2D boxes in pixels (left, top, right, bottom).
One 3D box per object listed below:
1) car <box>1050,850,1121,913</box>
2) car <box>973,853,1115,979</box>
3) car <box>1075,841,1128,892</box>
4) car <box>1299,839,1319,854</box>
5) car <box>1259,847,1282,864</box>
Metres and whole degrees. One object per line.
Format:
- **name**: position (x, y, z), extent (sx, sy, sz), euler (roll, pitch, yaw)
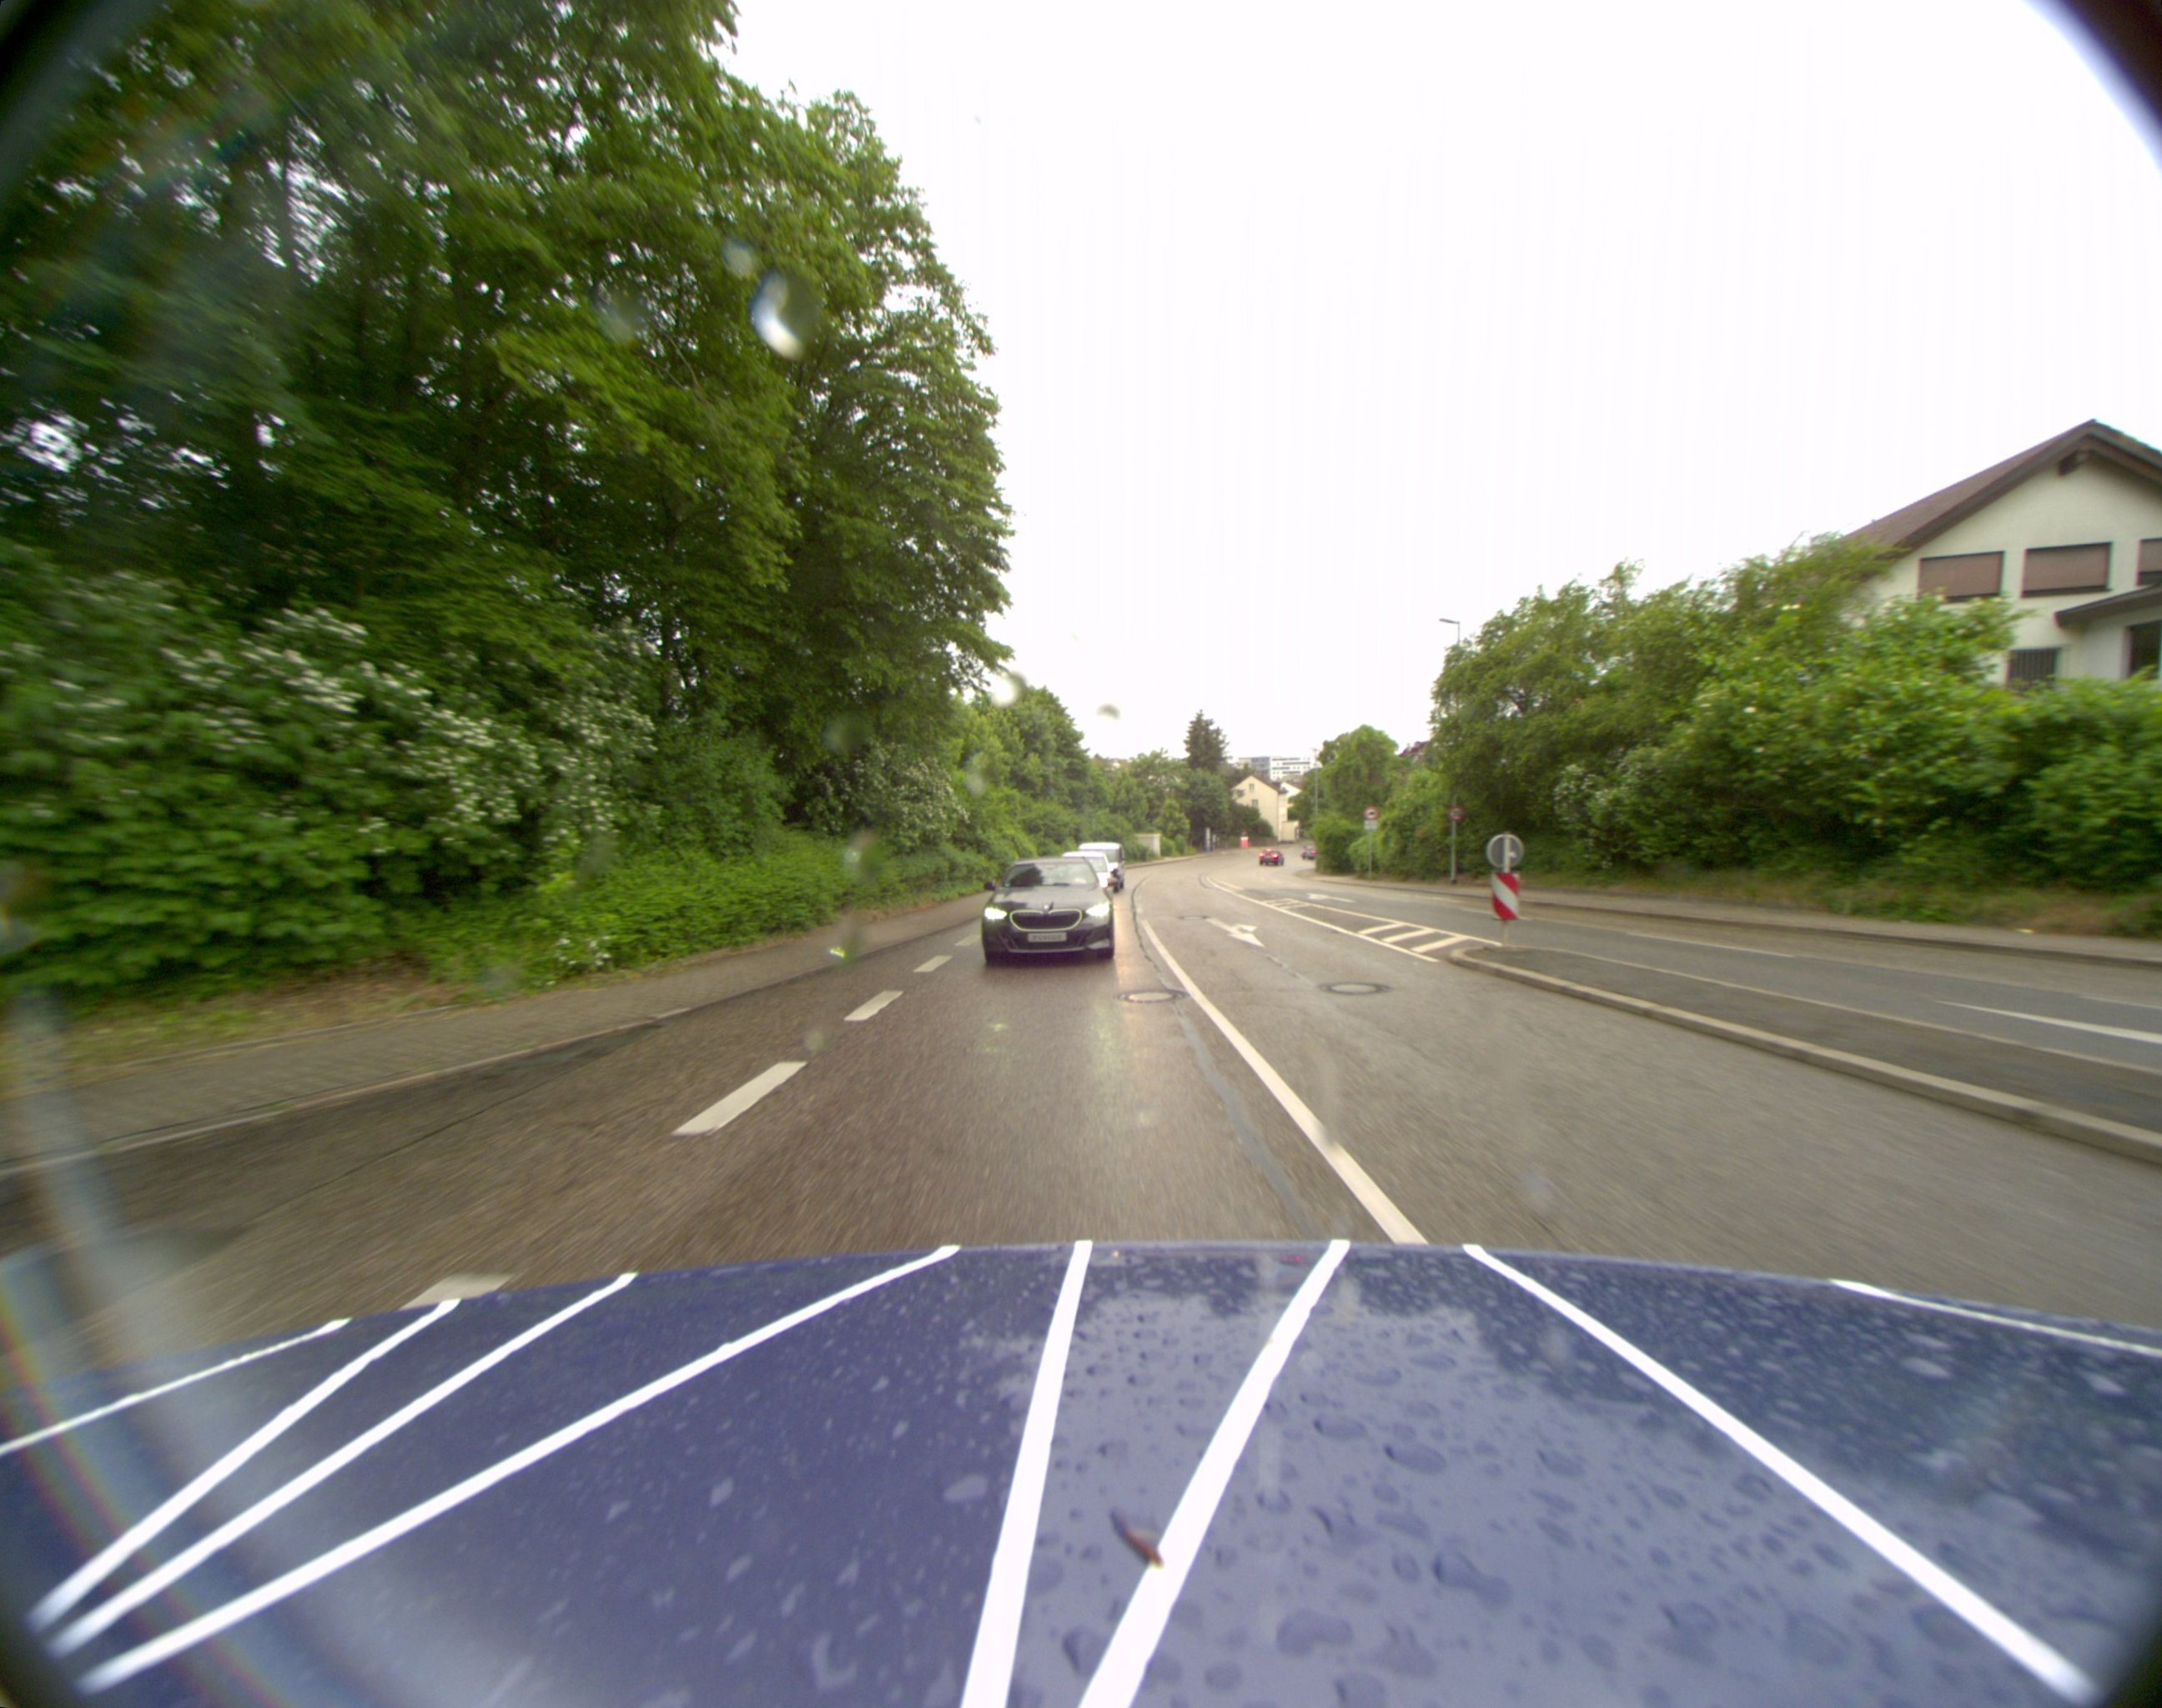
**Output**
- **car**: position (0.139, 0.707, 21.614), extent (1.814, 1.547, 4.119), euler (-1, 1, 1)
- **car**: position (-0.464, 0.820, 12.152), extent (1.867, 1.547, 4.118), euler (-1, 2, 1)
- **car**: position (0.869, 0.423, 29.480), extent (1.814, 1.797, 4.120), euler (-1, 1, 4)
- **car**: position (29.945, -0.972, 99.640), extent (2.128, 2.002, 4.092), euler (0, 1, 23)
- **car**: position (20.803, 0.151, 83.215), extent (1.957, 1.835, 4.006), euler (1, 1, 21)
